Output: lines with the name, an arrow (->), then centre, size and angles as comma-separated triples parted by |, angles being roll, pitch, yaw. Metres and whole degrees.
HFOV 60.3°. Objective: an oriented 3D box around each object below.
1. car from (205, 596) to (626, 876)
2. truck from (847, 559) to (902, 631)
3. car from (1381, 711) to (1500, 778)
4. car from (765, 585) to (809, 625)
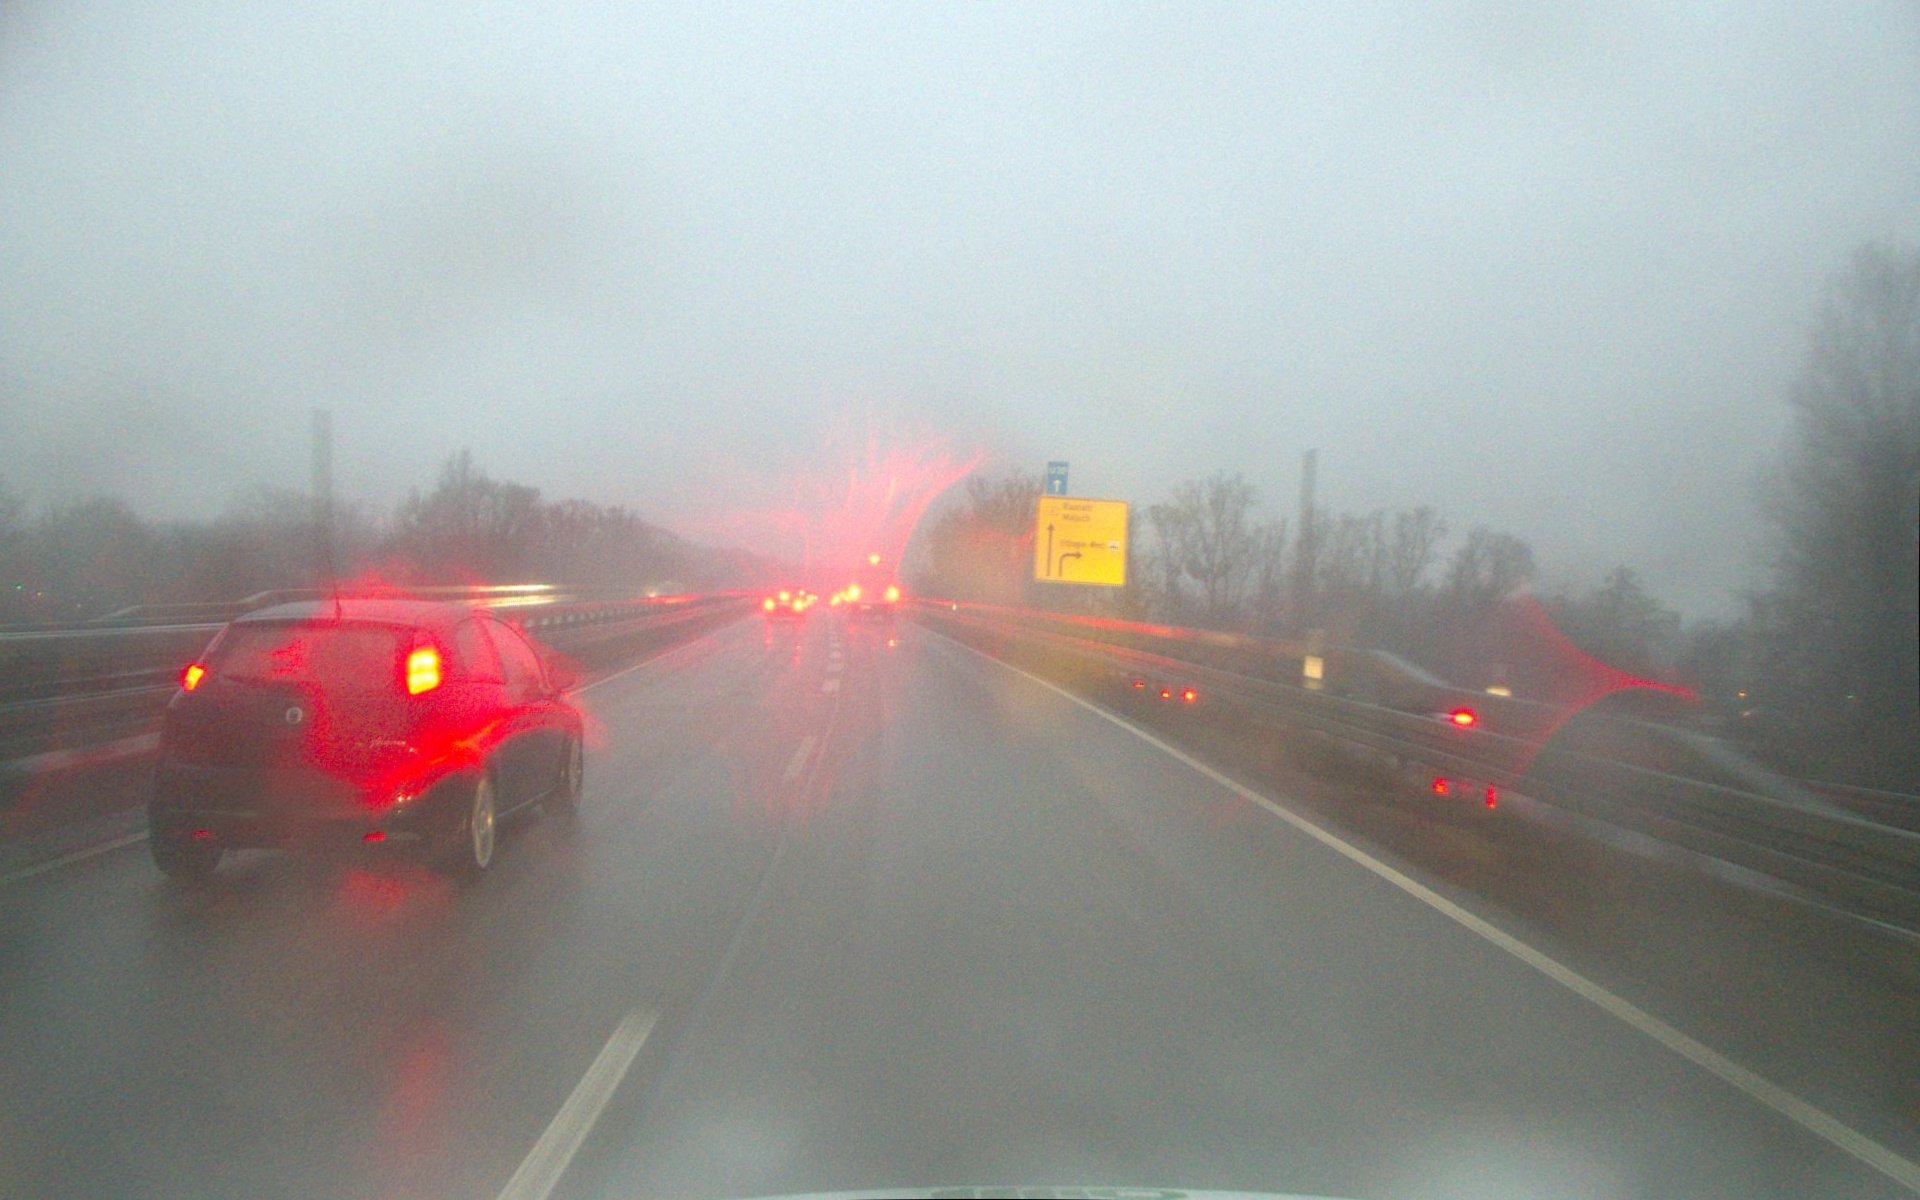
car -> -3.180, 0.703, 10.453 | 1.593, 1.416, 3.996 | 0, 0, -4
truck -> -3.927, -0.174, 75.605 | 2.336, 2.960, 4.669 | 1, -3, -5
car -> 12.691, 3.796, 43.916 | 1.644, 1.303, 3.996 | 7, -2, -4
car -> -7.575, 0.246, 72.672 | 1.799, 1.564, 3.996 | 2, -2, -4
